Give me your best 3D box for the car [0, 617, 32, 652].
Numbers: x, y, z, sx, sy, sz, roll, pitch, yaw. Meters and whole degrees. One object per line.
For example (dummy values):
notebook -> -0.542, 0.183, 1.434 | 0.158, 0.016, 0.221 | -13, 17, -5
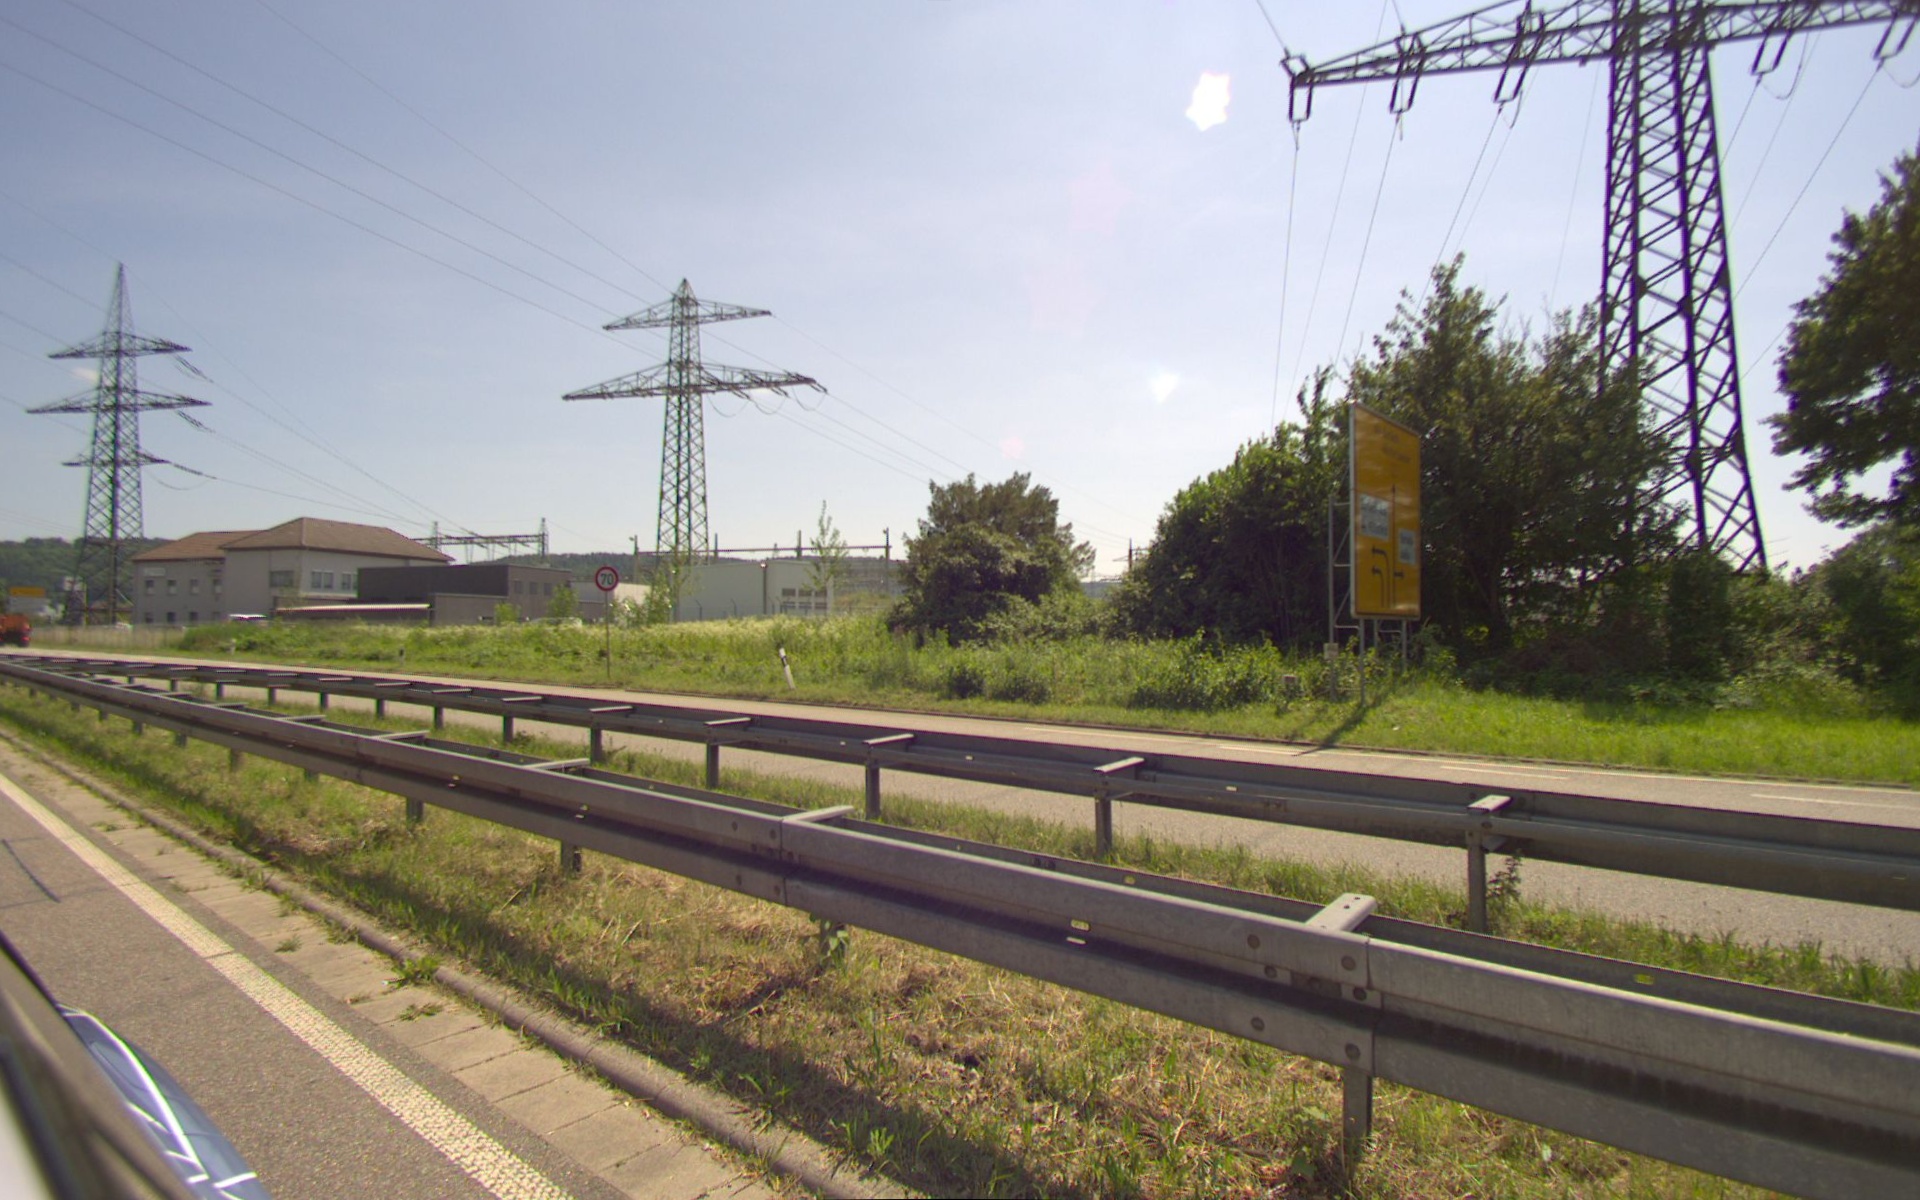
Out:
car -> -87.805, 3.174, 93.250 | 5.634, 3.084, 2.574 | -2, -3, 40

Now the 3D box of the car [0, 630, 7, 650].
car -> -95.335, 3.923, 99.366 | 3.993, 1.929, 1.975 | 0, 0, 37
